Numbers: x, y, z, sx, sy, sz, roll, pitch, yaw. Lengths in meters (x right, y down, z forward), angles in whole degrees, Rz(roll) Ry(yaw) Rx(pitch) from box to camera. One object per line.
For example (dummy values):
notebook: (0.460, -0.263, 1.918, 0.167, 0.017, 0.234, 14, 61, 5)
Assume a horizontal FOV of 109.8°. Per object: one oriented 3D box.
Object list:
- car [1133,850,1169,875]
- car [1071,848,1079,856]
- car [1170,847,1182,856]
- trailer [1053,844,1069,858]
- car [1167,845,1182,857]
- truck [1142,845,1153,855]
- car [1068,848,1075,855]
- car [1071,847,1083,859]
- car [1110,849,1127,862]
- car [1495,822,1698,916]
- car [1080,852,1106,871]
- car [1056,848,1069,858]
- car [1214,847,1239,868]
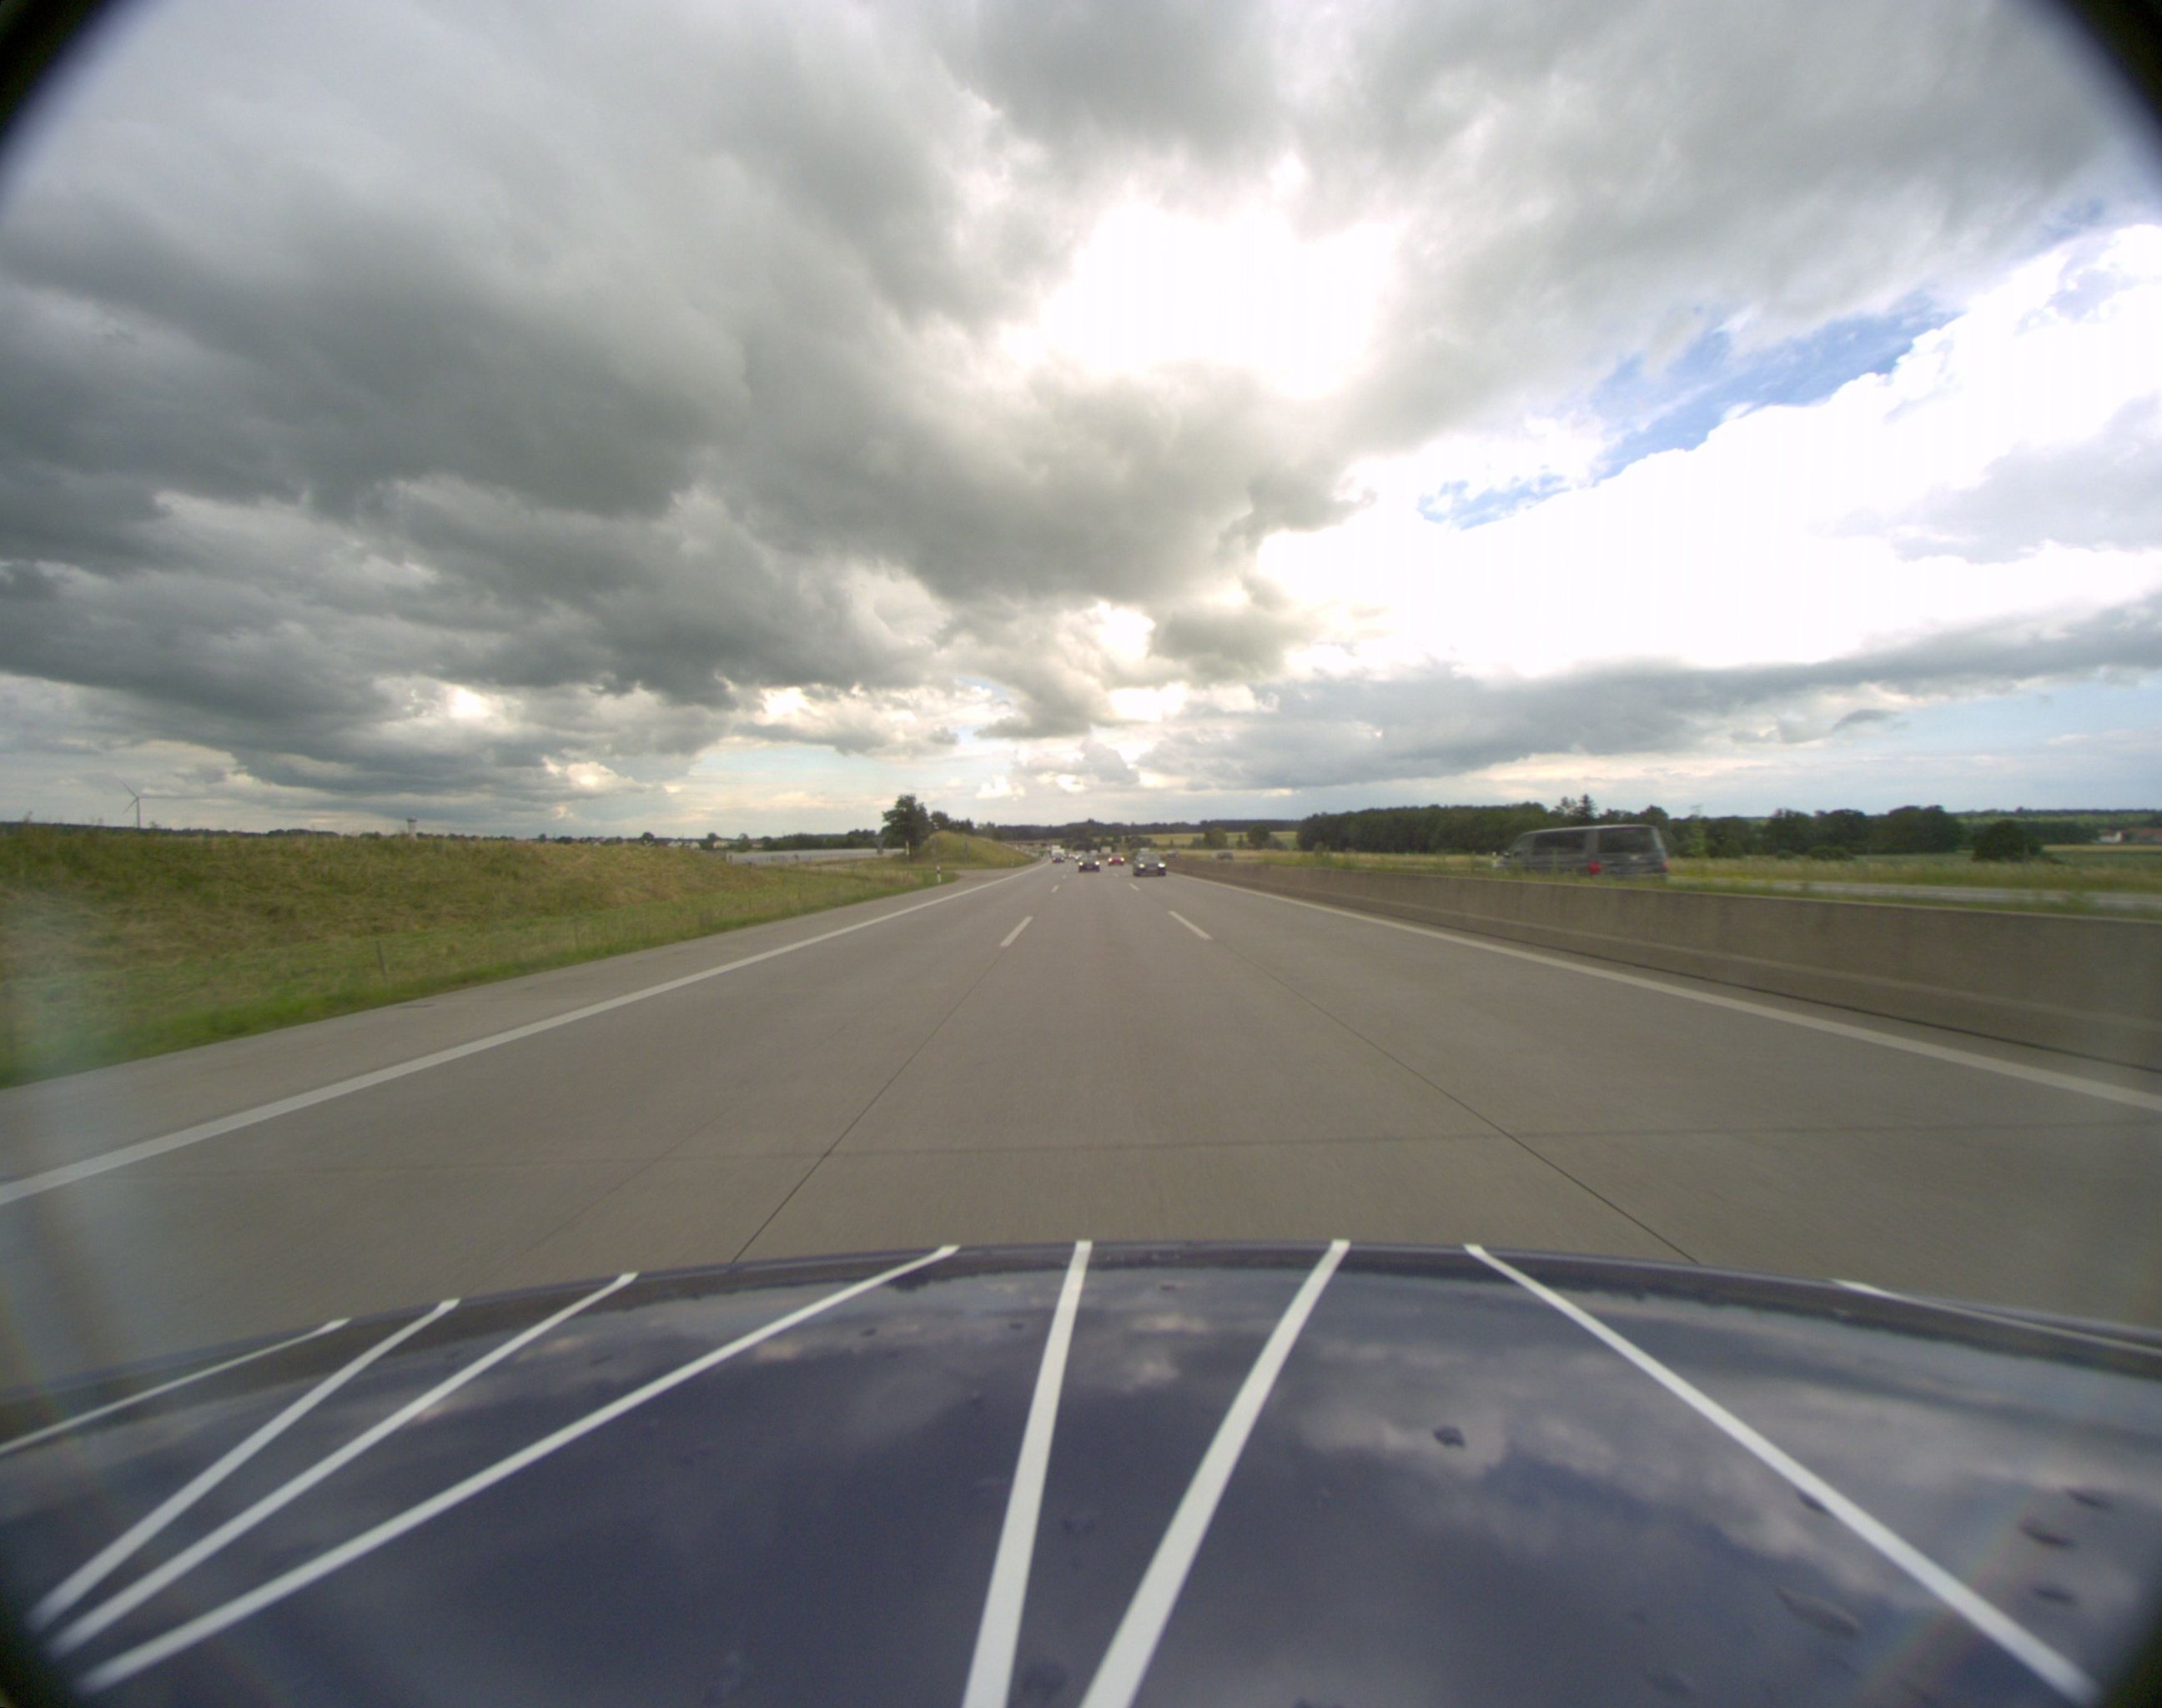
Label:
car: (4.363, 0.522, 47.992, 1.939, 1.464, 4.000, -2, 0, 1)
car: (-1.672, -0.454, 204.243, 1.810, 2.002, 3.841, -3, 1, -3)
car: (19.412, -0.510, 155.139, 1.753, 1.631, 4.943, -2, 0, 0)
trailer: (-3.728, -0.637, 140.524, 2.616, 2.520, 6.718, -2, 1, -4)
car: (12.667, -0.403, 103.375, 1.620, 1.463, 3.099, -3, 1, 1)
truck: (17.999, -1.178, 206.707, 2.150, 2.552, 7.445, -2, 1, -1)
car: (-3.025, -0.914, 234.830, 1.999, 2.002, 3.998, -2, 1, -3)
car: (-0.763, -0.246, 134.743, 1.999, 2.002, 3.999, -2, 0, 0)
car: (4.348, 0.203, 89.304, 1.822, 1.364, 3.782, -3, 1, 1)
car: (12.767, 0.347, 19.275, 1.998, 2.002, 4.630, -2, 0, 1)
car: (0.887, 0.571, 59.963, 1.691, 1.405, 3.998, -2, 1, -4)
car: (-3.320, -0.196, 134.671, 1.944, 1.799, 5.029, -2, 1, -4)
car: (13.021, 0.307, 68.107, 1.554, 1.638, 3.258, -2, 2, 1)
